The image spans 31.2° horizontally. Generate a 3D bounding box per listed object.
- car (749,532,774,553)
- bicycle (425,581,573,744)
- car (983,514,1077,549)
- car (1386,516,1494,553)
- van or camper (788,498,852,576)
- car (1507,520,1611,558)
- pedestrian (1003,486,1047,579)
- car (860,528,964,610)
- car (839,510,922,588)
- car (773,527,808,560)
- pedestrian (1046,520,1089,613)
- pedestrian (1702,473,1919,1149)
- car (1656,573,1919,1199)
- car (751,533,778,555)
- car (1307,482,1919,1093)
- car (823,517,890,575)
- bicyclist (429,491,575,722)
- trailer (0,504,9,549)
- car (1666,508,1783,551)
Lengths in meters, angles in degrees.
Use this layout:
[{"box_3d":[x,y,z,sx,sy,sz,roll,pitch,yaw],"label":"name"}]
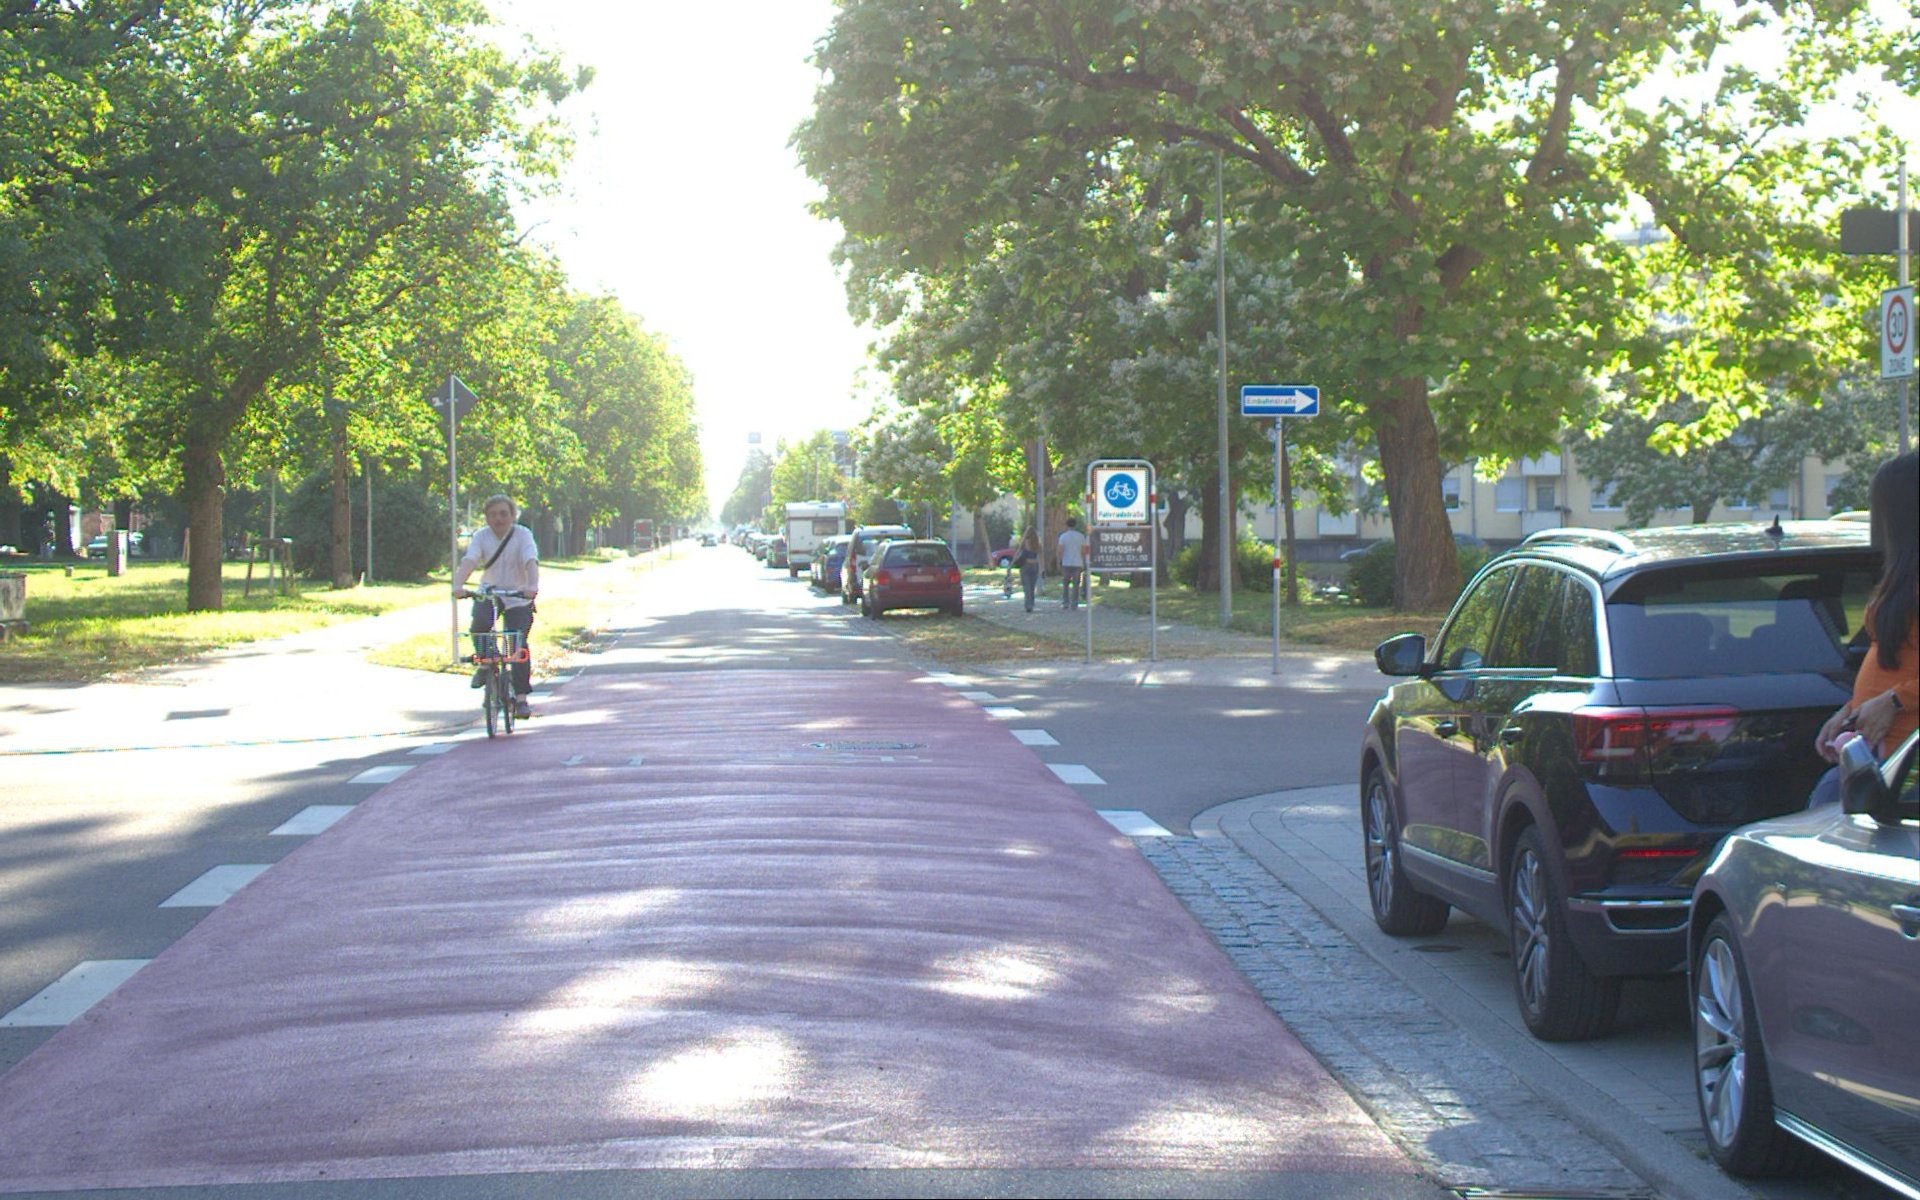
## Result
[{"box_3d":[-13.734,-3.998,238.085,1.626,1.405,4.250,-1,1,-4],"label":"car"},{"box_3d":[-3.433,0.442,25.756,0.738,1.131,2.104,0,1,3],"label":"bicycle"},{"box_3d":[3.141,-3.087,154.645,4.195,1.525,2.000,-1,1,0],"label":"car"},{"box_3d":[21.171,-2.873,151.643,4.514,1.564,1.879,0,1,15],"label":"car"},{"box_3d":[-5.416,-2.382,132.163,2.234,2.894,5.674,-1,0,-4],"label":"van or camper"},{"box_3d":[24.996,-2.550,143.373,3.992,1.546,1.608,0,1,24],"label":"car"},{"box_3d":[1.223,-1.274,64.458,0.753,1.730,0.732,0,1,-3],"label":"pedestrian"},{"box_3d":[-0.949,-0.610,65.417,1.678,1.481,4.810,-1,1,-4],"label":"car"},{"box_3d":[-1.859,-1.186,79.357,1.678,1.734,4.515,-1,1,-4],"label":"car"},{"box_3d":[-8.555,-2.842,173.311,1.626,1.663,4.250,-1,1,-4],"label":"car"},{"box_3d":[2.007,-0.634,64.519,0.725,1.730,0.732,0,1,-3],"label":"pedestrian"},{"box_3d":[2.621,0.545,9.384,0.952,1.763,0.779,0,1,-5],"label":"pedestrian"},{"box_3d":[2.669,0.667,6.445,1.703,1.415,4.349,-3,1,-1],"label":"car"},{"box_3d":[-12.923,-3.686,227.133,1.626,1.405,4.250,-1,1,-4],"label":"car"},{"box_3d":[2.436,0.451,11.830,1.703,1.620,4.349,-3,2,-4],"label":"car"},{"box_3d":[-2.876,-1.479,94.745,1.731,1.545,4.276,-1,1,-3],"label":"car"},{"box_3d":[-3.428,0.039,25.789,0.937,1.697,0.905,0,1,3],"label":"bicyclist"},{"box_3d":[-54.767,-4.063,190.673,2.459,2.480,7.051,-1,1,-3],"label":"trailer"},{"box_3d":[32.510,-2.994,146.219,4.519,1.740,1.877,0,1,31],"label":"car"}]
